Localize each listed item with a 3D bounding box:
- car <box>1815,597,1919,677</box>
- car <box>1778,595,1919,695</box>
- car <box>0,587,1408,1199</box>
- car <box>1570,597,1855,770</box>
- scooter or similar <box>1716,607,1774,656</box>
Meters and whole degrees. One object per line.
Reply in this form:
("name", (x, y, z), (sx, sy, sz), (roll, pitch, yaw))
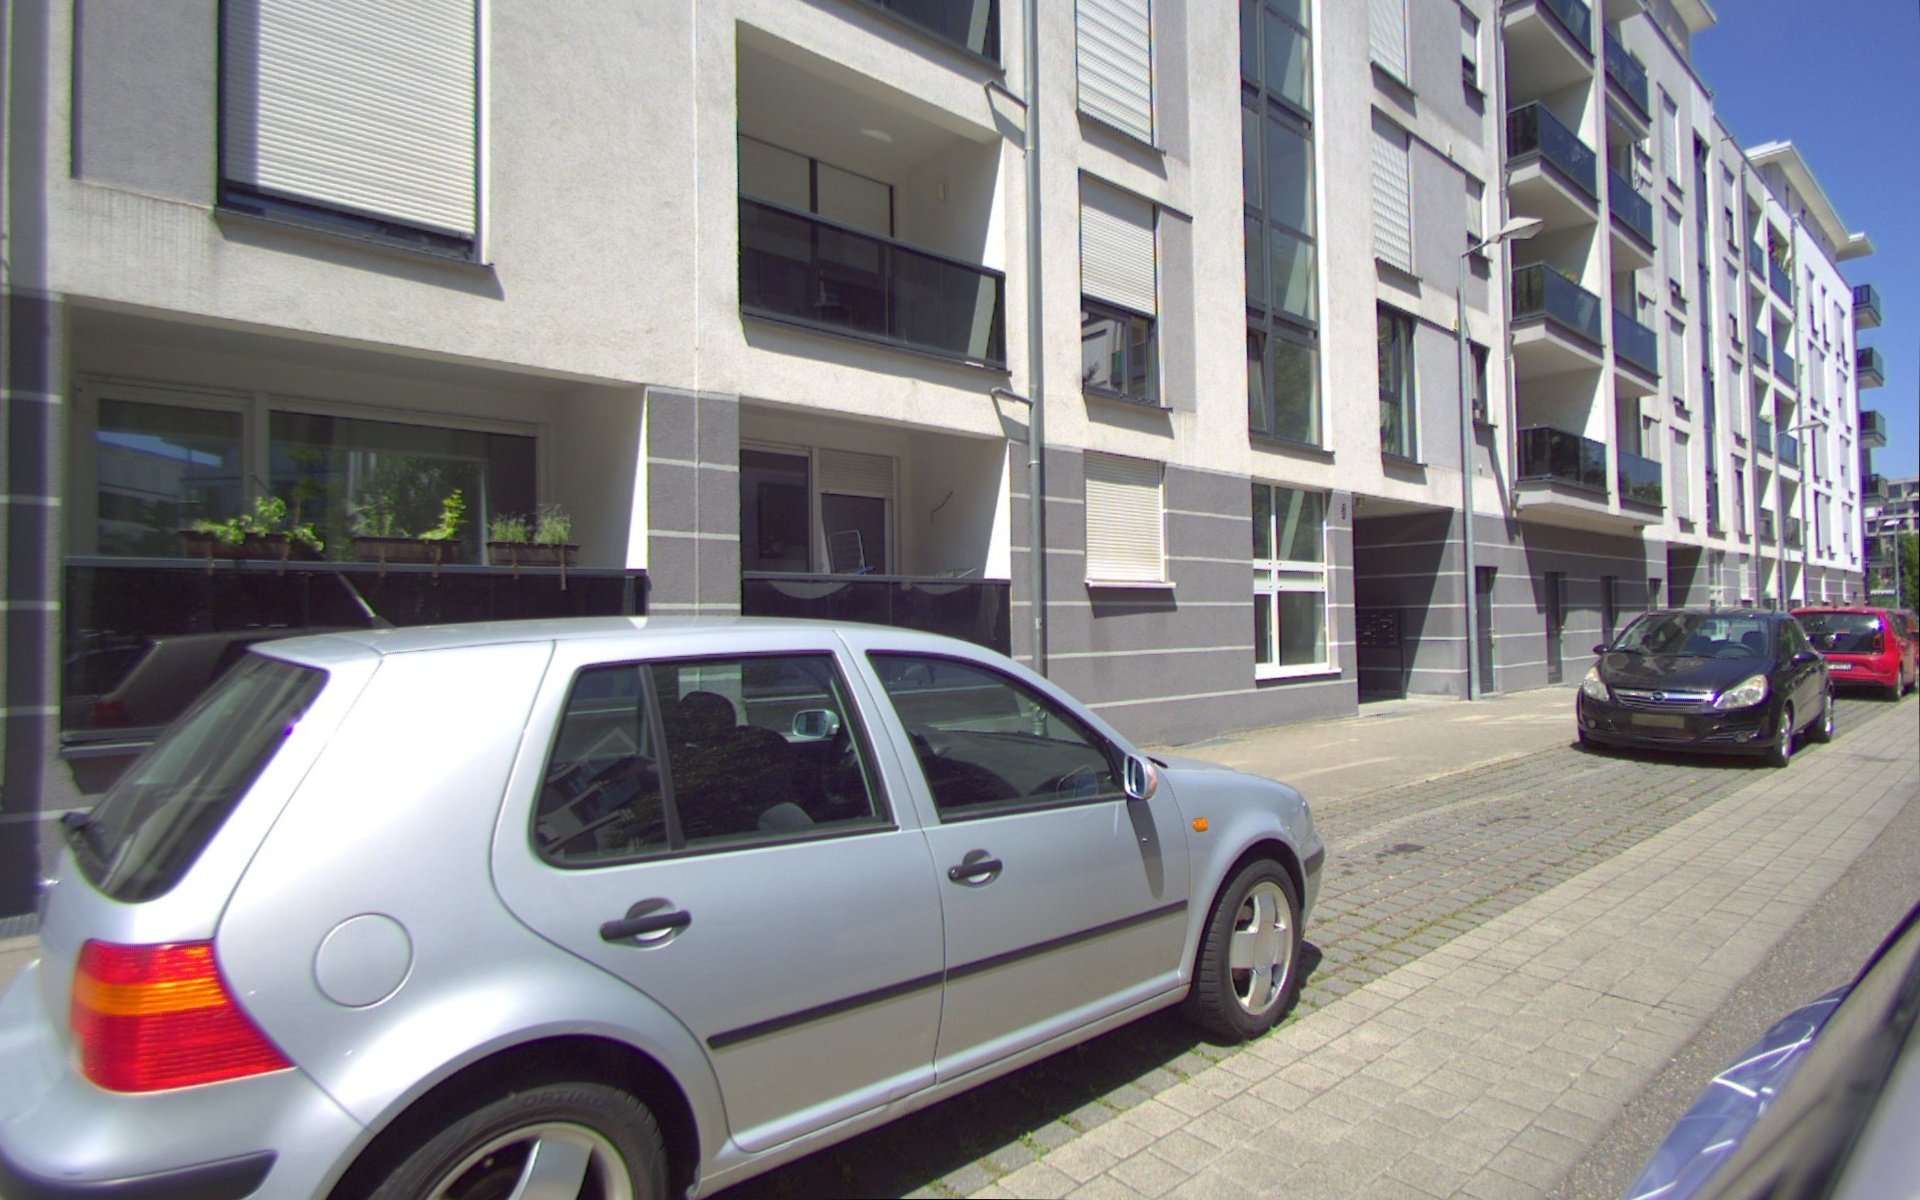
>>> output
("car", (19.130, 0.692, 20.829), (4.184, 1.506, 1.740), (0, 0, -41))
("car", (15.194, 0.676, 17.062), (3.611, 1.504, 1.598), (0, 0, -41))
("car", (-0.413, 0.741, 3.328), (4.275, 1.524, 1.837), (0, 0, -41))
("car", (8.035, 0.712, 10.664), (4.046, 1.481, 1.645), (0, 0, -42))
("scooter or similar", (20.536, 0.824, 26.468), (1.498, 1.241, 0.548), (0, -3, -26))
